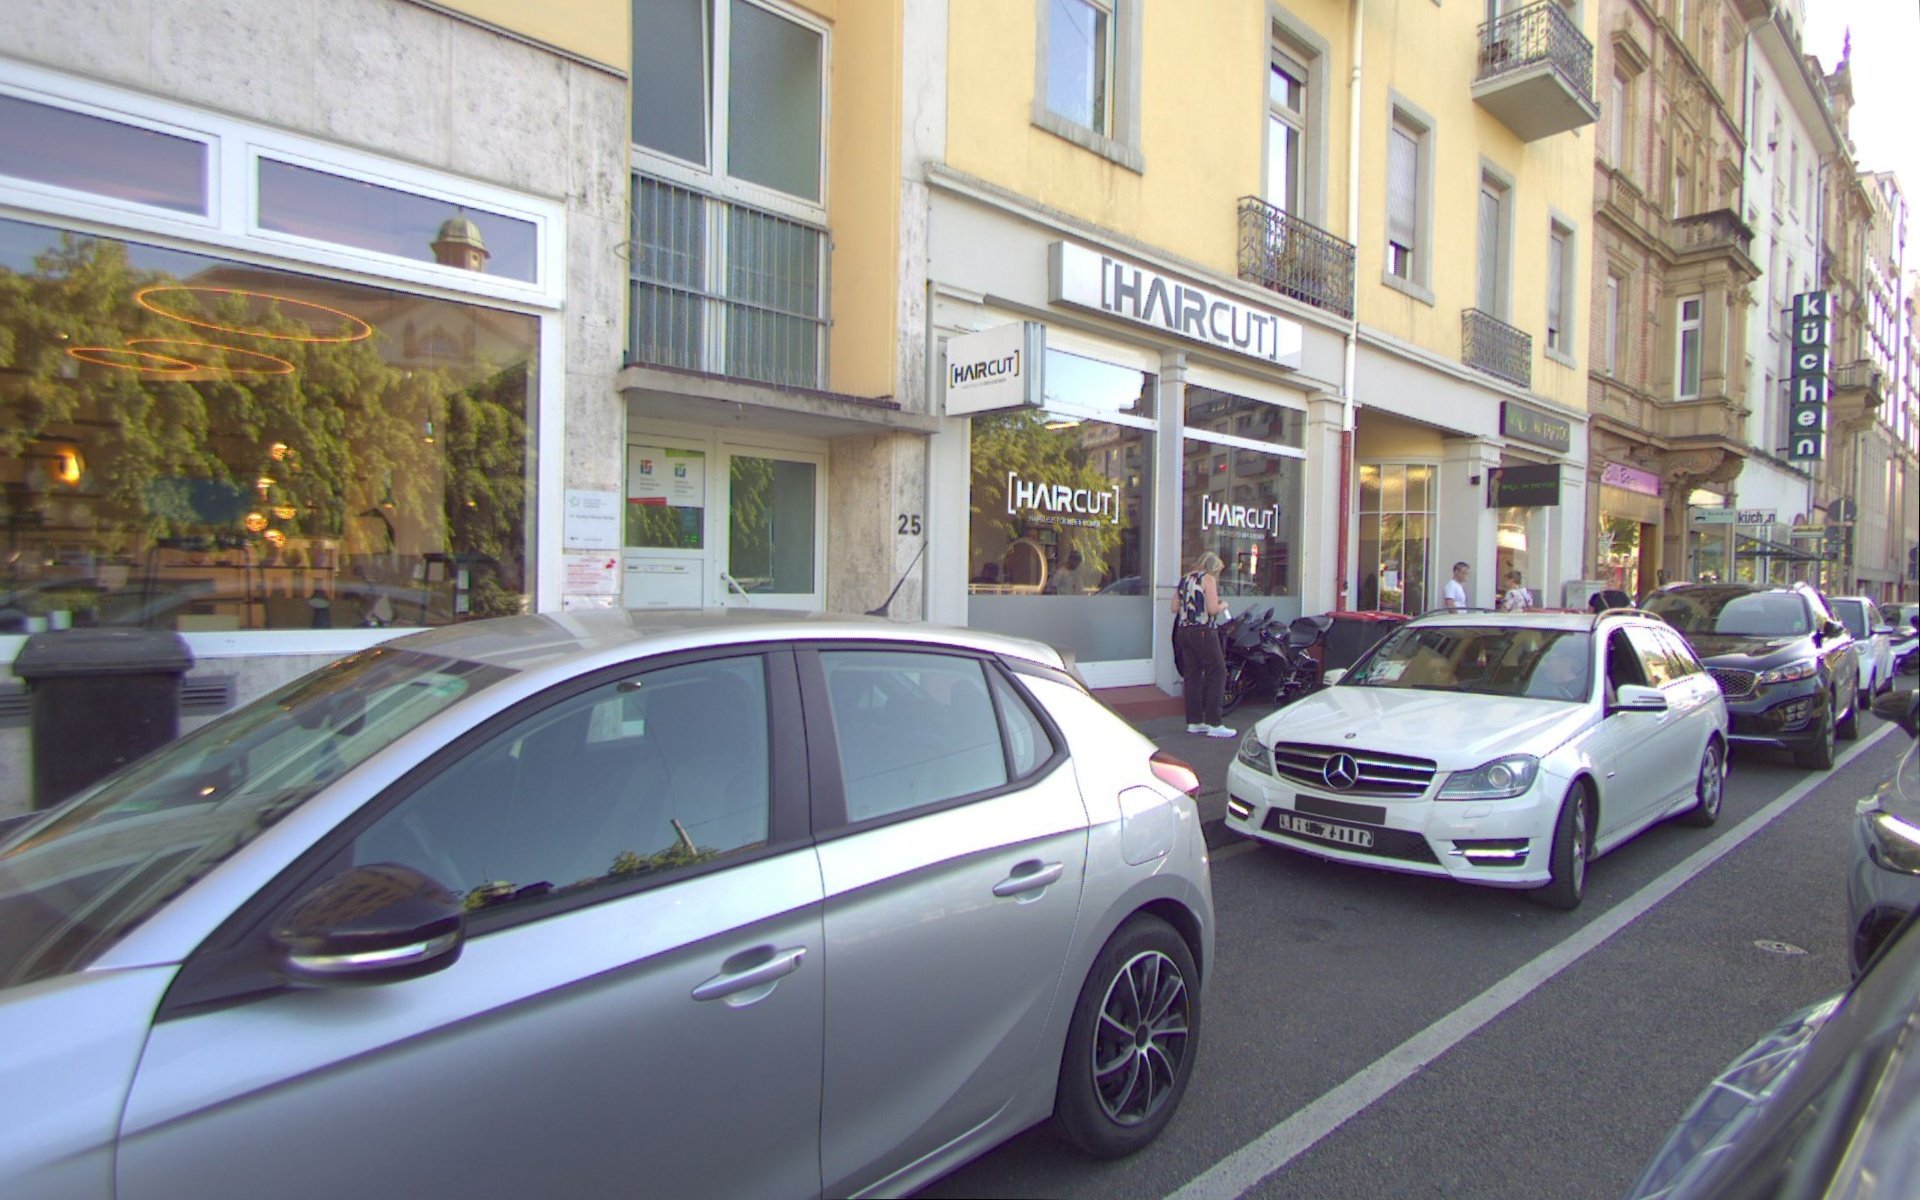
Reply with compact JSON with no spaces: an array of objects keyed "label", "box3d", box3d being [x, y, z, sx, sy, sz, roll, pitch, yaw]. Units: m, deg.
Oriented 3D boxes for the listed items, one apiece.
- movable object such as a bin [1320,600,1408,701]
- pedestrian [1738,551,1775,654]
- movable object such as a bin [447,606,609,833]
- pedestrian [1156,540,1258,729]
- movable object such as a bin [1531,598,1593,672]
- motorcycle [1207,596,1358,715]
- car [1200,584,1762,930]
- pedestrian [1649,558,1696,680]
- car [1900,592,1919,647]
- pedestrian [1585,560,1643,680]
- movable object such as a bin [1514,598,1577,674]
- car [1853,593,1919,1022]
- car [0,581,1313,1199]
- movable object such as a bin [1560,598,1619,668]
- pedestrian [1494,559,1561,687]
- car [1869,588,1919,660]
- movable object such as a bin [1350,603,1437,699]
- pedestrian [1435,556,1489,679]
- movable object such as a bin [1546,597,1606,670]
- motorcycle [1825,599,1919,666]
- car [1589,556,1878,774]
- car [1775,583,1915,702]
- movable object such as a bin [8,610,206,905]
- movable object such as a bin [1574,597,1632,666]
[{"label":"movable object such as a bin","box3d":[4.574,0.550,11.464,0.608,1.054,0.661,0,3,-38]},{"label":"pedestrian","box3d":[14.122,0.040,17.949,0.473,1.785,0.434,0,0,-41]},{"label":"movable object such as a bin","box3d":[-2.357,0.598,5.504,0.609,1.080,0.704,0,4,-41]},{"label":"pedestrian","box3d":[2.275,0.289,9.330,0.523,1.653,0.697,0,2,-43]},{"label":"movable object such as a bin","box3d":[9.308,0.522,15.652,0.608,1.079,0.606,0,4,-41]},{"label":"motorcycle","box3d":[3.390,0.530,10.529,1.975,1.105,0.551,0,3,-42]},{"label":"car","box3d":[3.540,0.651,6.438,4.387,1.465,1.741,0,1,-42]},{"label":"pedestrian","box3d":[9.903,0.256,14.066,0.506,1.653,0.414,0,0,-40]},{"label":"car","box3d":[26.498,0.504,26.987,3.736,1.435,1.736,0,1,-41]},{"label":"pedestrian","box3d":[9.245,0.265,14.306,0.616,1.653,0.456,1,0,43]},{"label":"movable object such as a bin","box3d":[8.819,0.528,15.245,0.608,1.079,0.606,0,4,-41]},{"label":"car","box3d":[5.387,0.717,4.320,4.297,1.467,1.846,0,1,-41]},{"label":"car","box3d":[-0.881,0.688,2.438,4.010,1.445,1.671,0,1,-44]},{"label":"movable object such as a bin","box3d":[10.237,0.522,16.452,0.608,1.079,0.606,0,4,-41]},{"label":"pedestrian","box3d":[7.618,0.298,13.596,0.582,1.681,0.451,2,1,5]},{"label":"car","box3d":[22.035,0.515,22.999,4.096,1.537,1.734,0,1,-44]},{"label":"movable object such as a bin","box3d":[5.069,0.576,11.850,0.608,1.037,0.669,0,3,-38]},{"label":"pedestrian","box3d":[6.976,0.234,14.068,0.513,1.681,0.339,1,1,-4]},{"label":"movable object such as a bin","box3d":[9.766,0.516,16.045,0.608,1.079,0.606,0,4,-41]},{"label":"motorcycle","box3d":[19.012,0.650,20.475,2.137,1.295,0.866,1,0,7]},{"label":"car","box3d":[8.054,0.497,10.360,4.498,1.758,1.756,0,1,-45]},{"label":"car","box3d":[12.844,0.541,14.649,2.748,1.537,1.273,0,1,-44]},{"label":"movable object such as a bin","box3d":[-3.662,0.615,4.364,0.609,1.080,0.704,0,4,-41]},{"label":"movable object such as a bin","box3d":[10.723,0.506,16.877,0.608,1.079,0.606,0,4,-41]}]
